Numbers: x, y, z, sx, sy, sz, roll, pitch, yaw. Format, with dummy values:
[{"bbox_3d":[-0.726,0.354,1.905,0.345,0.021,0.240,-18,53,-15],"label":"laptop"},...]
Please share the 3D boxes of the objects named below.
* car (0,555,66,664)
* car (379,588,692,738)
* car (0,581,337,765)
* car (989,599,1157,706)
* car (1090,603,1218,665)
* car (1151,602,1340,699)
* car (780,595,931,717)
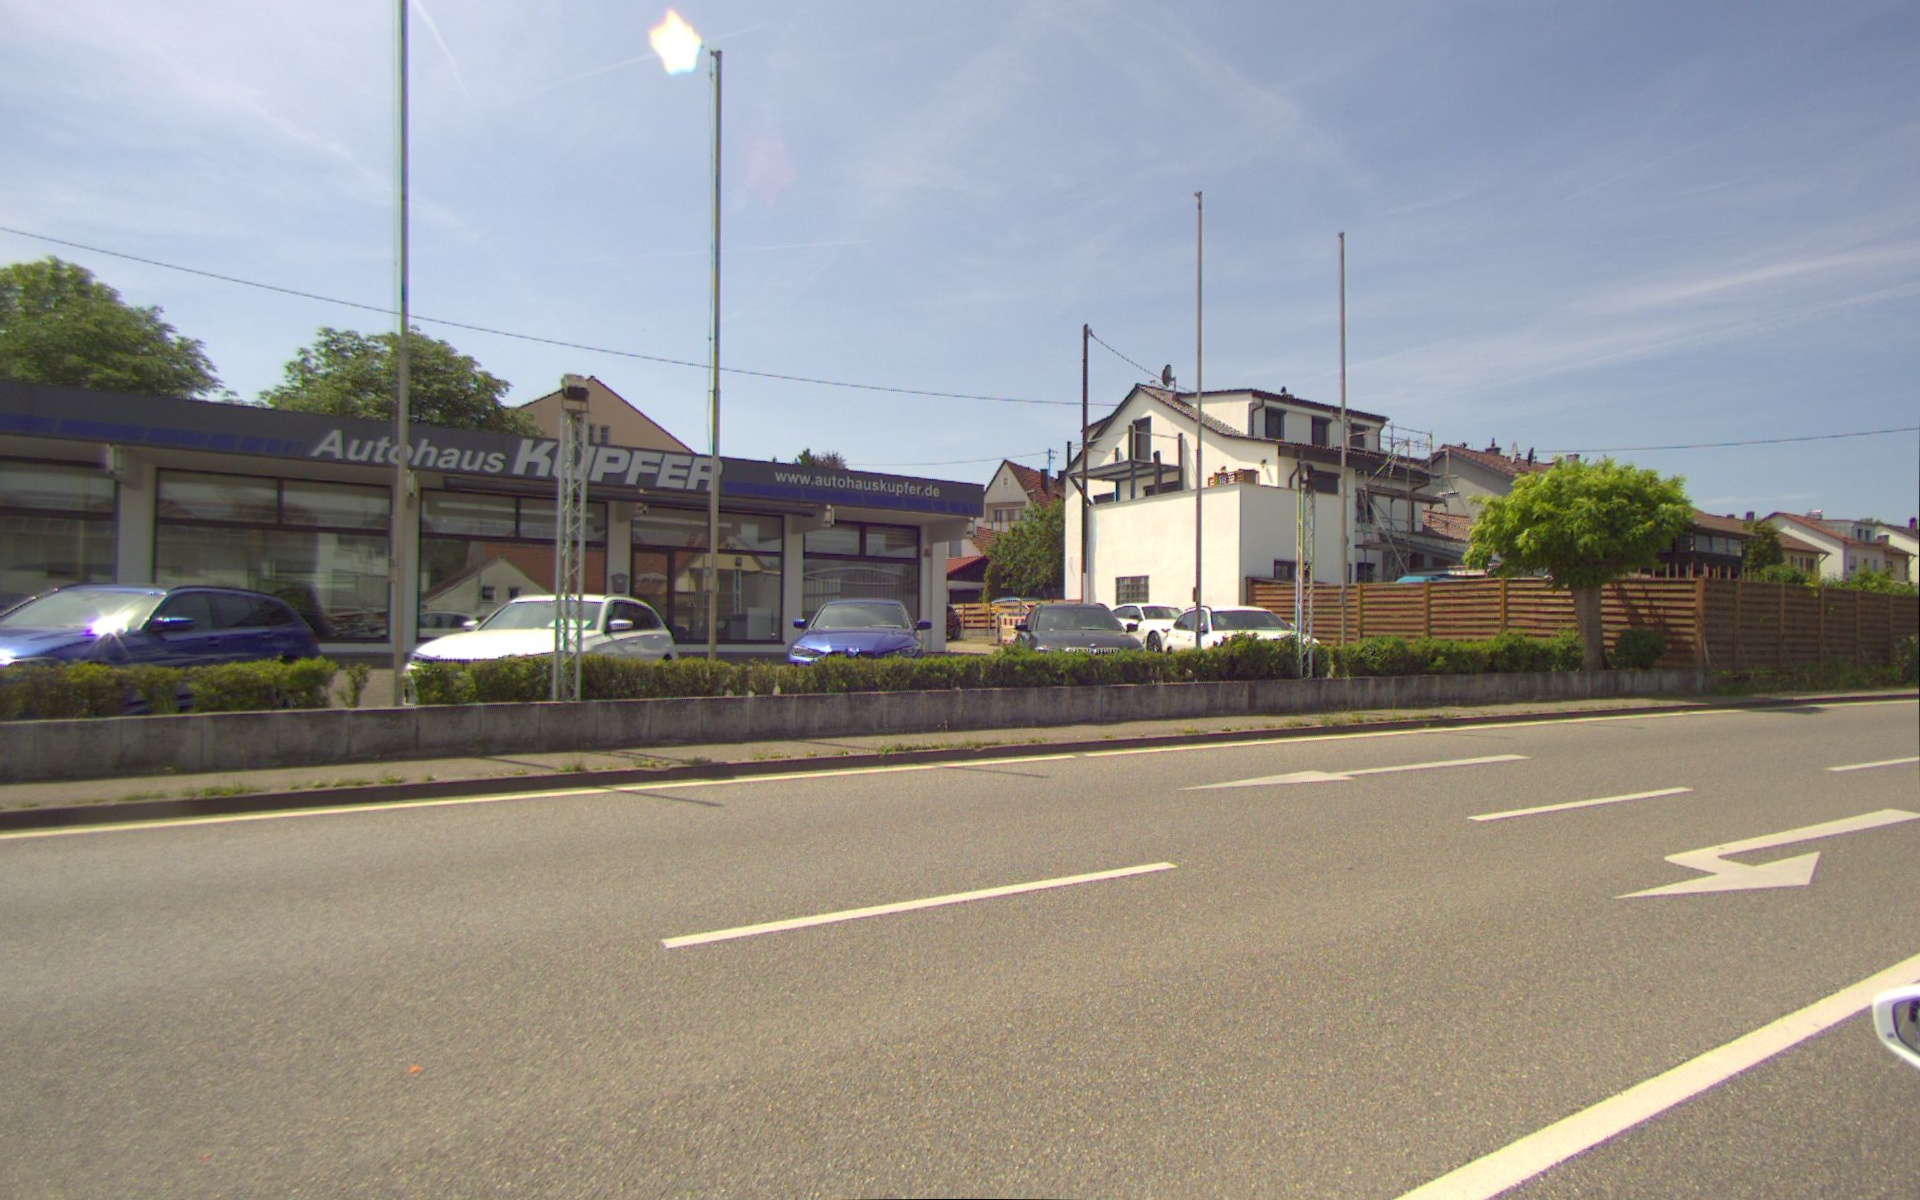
[{"bbox_3d":[-15.384,0.076,13.595,4.514,1.484,1.801,1,0,-22],"label":"car"},{"bbox_3d":[-4.878,0.632,12.369,1.820,1.467,4.516,1,0,1],"label":"car"},{"bbox_3d":[-8.654,0.584,10.340,1.821,1.467,4.341,2,0,-2],"label":"car"},{"bbox_3d":[1.687,0.753,16.570,1.863,1.467,4.338,2,0,-6],"label":"car"},{"bbox_3d":[5.240,0.886,27.717,1.805,1.530,3.985,1,0,-17],"label":"car"},{"bbox_3d":[4.993,0.820,18.250,1.822,1.467,4.338,2,0,-6],"label":"car"},{"bbox_3d":[-1.382,0.708,14.734,1.821,1.467,4.341,2,0,-2],"label":"car"}]
